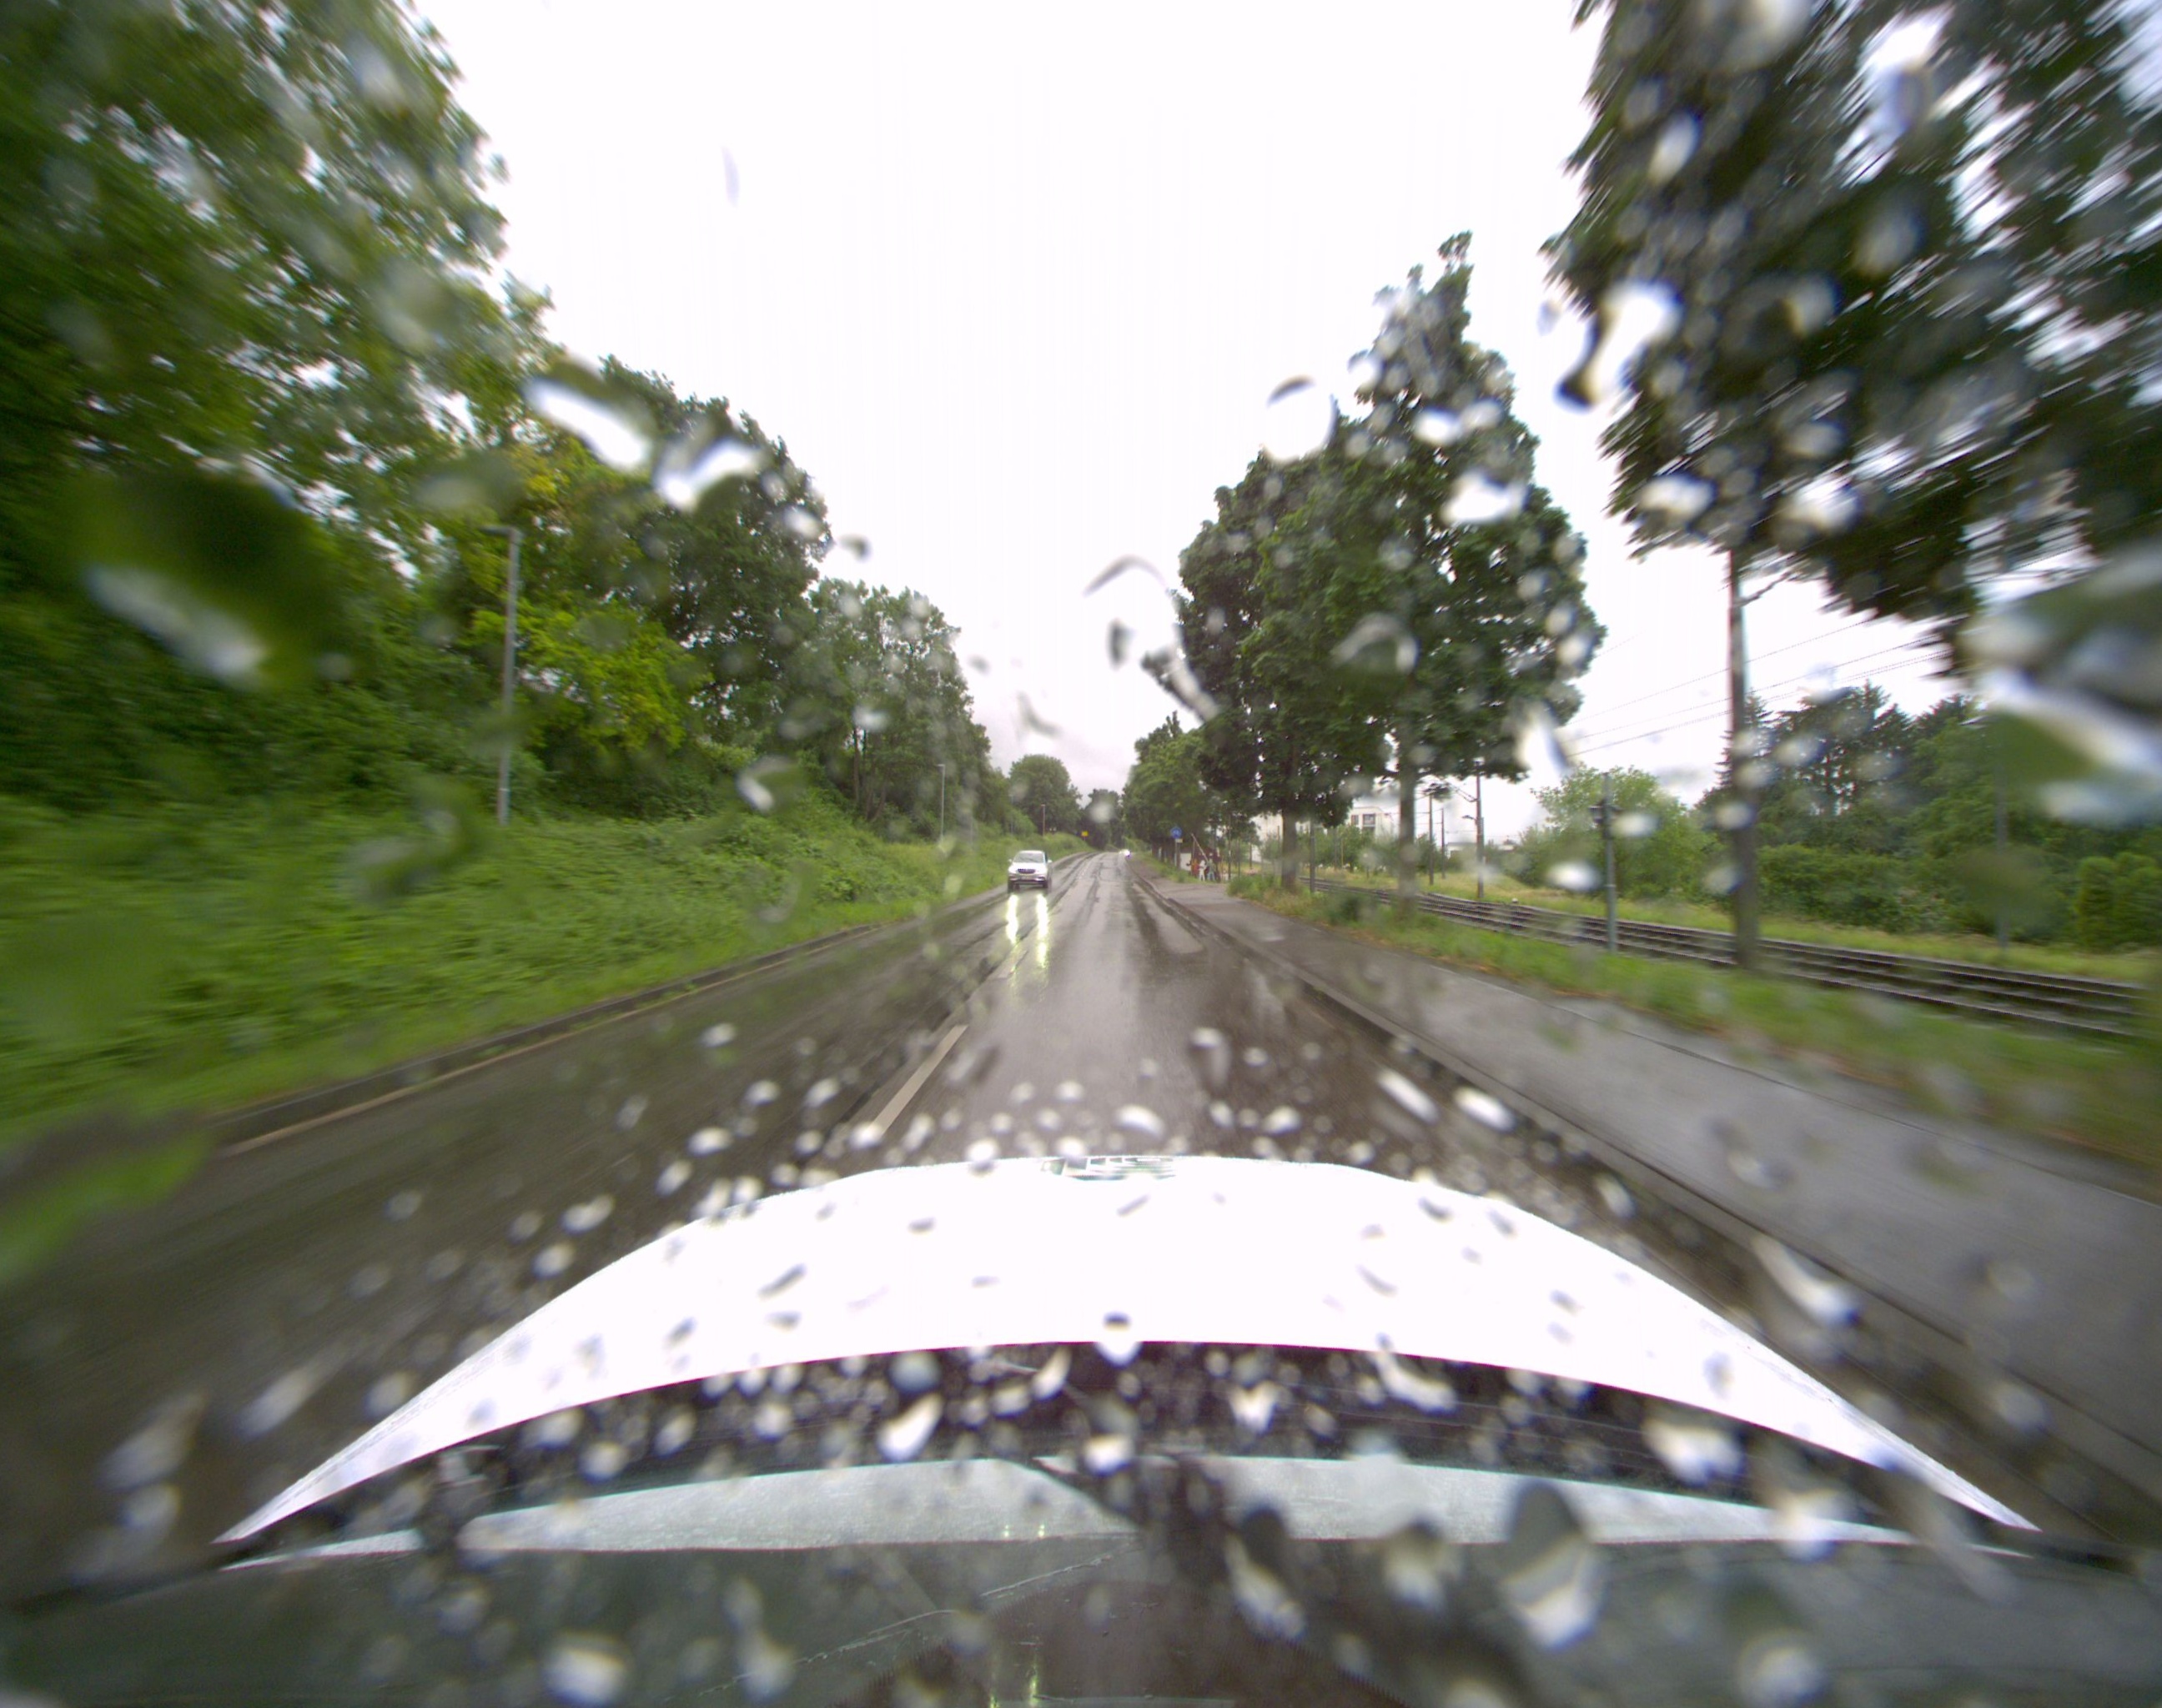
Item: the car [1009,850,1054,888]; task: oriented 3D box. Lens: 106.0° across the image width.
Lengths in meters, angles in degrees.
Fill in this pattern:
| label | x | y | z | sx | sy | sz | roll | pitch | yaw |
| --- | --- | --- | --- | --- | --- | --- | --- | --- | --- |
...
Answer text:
| label | x | y | z | sx | sy | sz | roll | pitch | yaw |
| --- | --- | --- | --- | --- | --- | --- | --- | --- | --- |
| car | -2.180 | 0.625 | 37.049 | 1.738 | 1.612 | 4.088 | 0 | 1 | 1 |
